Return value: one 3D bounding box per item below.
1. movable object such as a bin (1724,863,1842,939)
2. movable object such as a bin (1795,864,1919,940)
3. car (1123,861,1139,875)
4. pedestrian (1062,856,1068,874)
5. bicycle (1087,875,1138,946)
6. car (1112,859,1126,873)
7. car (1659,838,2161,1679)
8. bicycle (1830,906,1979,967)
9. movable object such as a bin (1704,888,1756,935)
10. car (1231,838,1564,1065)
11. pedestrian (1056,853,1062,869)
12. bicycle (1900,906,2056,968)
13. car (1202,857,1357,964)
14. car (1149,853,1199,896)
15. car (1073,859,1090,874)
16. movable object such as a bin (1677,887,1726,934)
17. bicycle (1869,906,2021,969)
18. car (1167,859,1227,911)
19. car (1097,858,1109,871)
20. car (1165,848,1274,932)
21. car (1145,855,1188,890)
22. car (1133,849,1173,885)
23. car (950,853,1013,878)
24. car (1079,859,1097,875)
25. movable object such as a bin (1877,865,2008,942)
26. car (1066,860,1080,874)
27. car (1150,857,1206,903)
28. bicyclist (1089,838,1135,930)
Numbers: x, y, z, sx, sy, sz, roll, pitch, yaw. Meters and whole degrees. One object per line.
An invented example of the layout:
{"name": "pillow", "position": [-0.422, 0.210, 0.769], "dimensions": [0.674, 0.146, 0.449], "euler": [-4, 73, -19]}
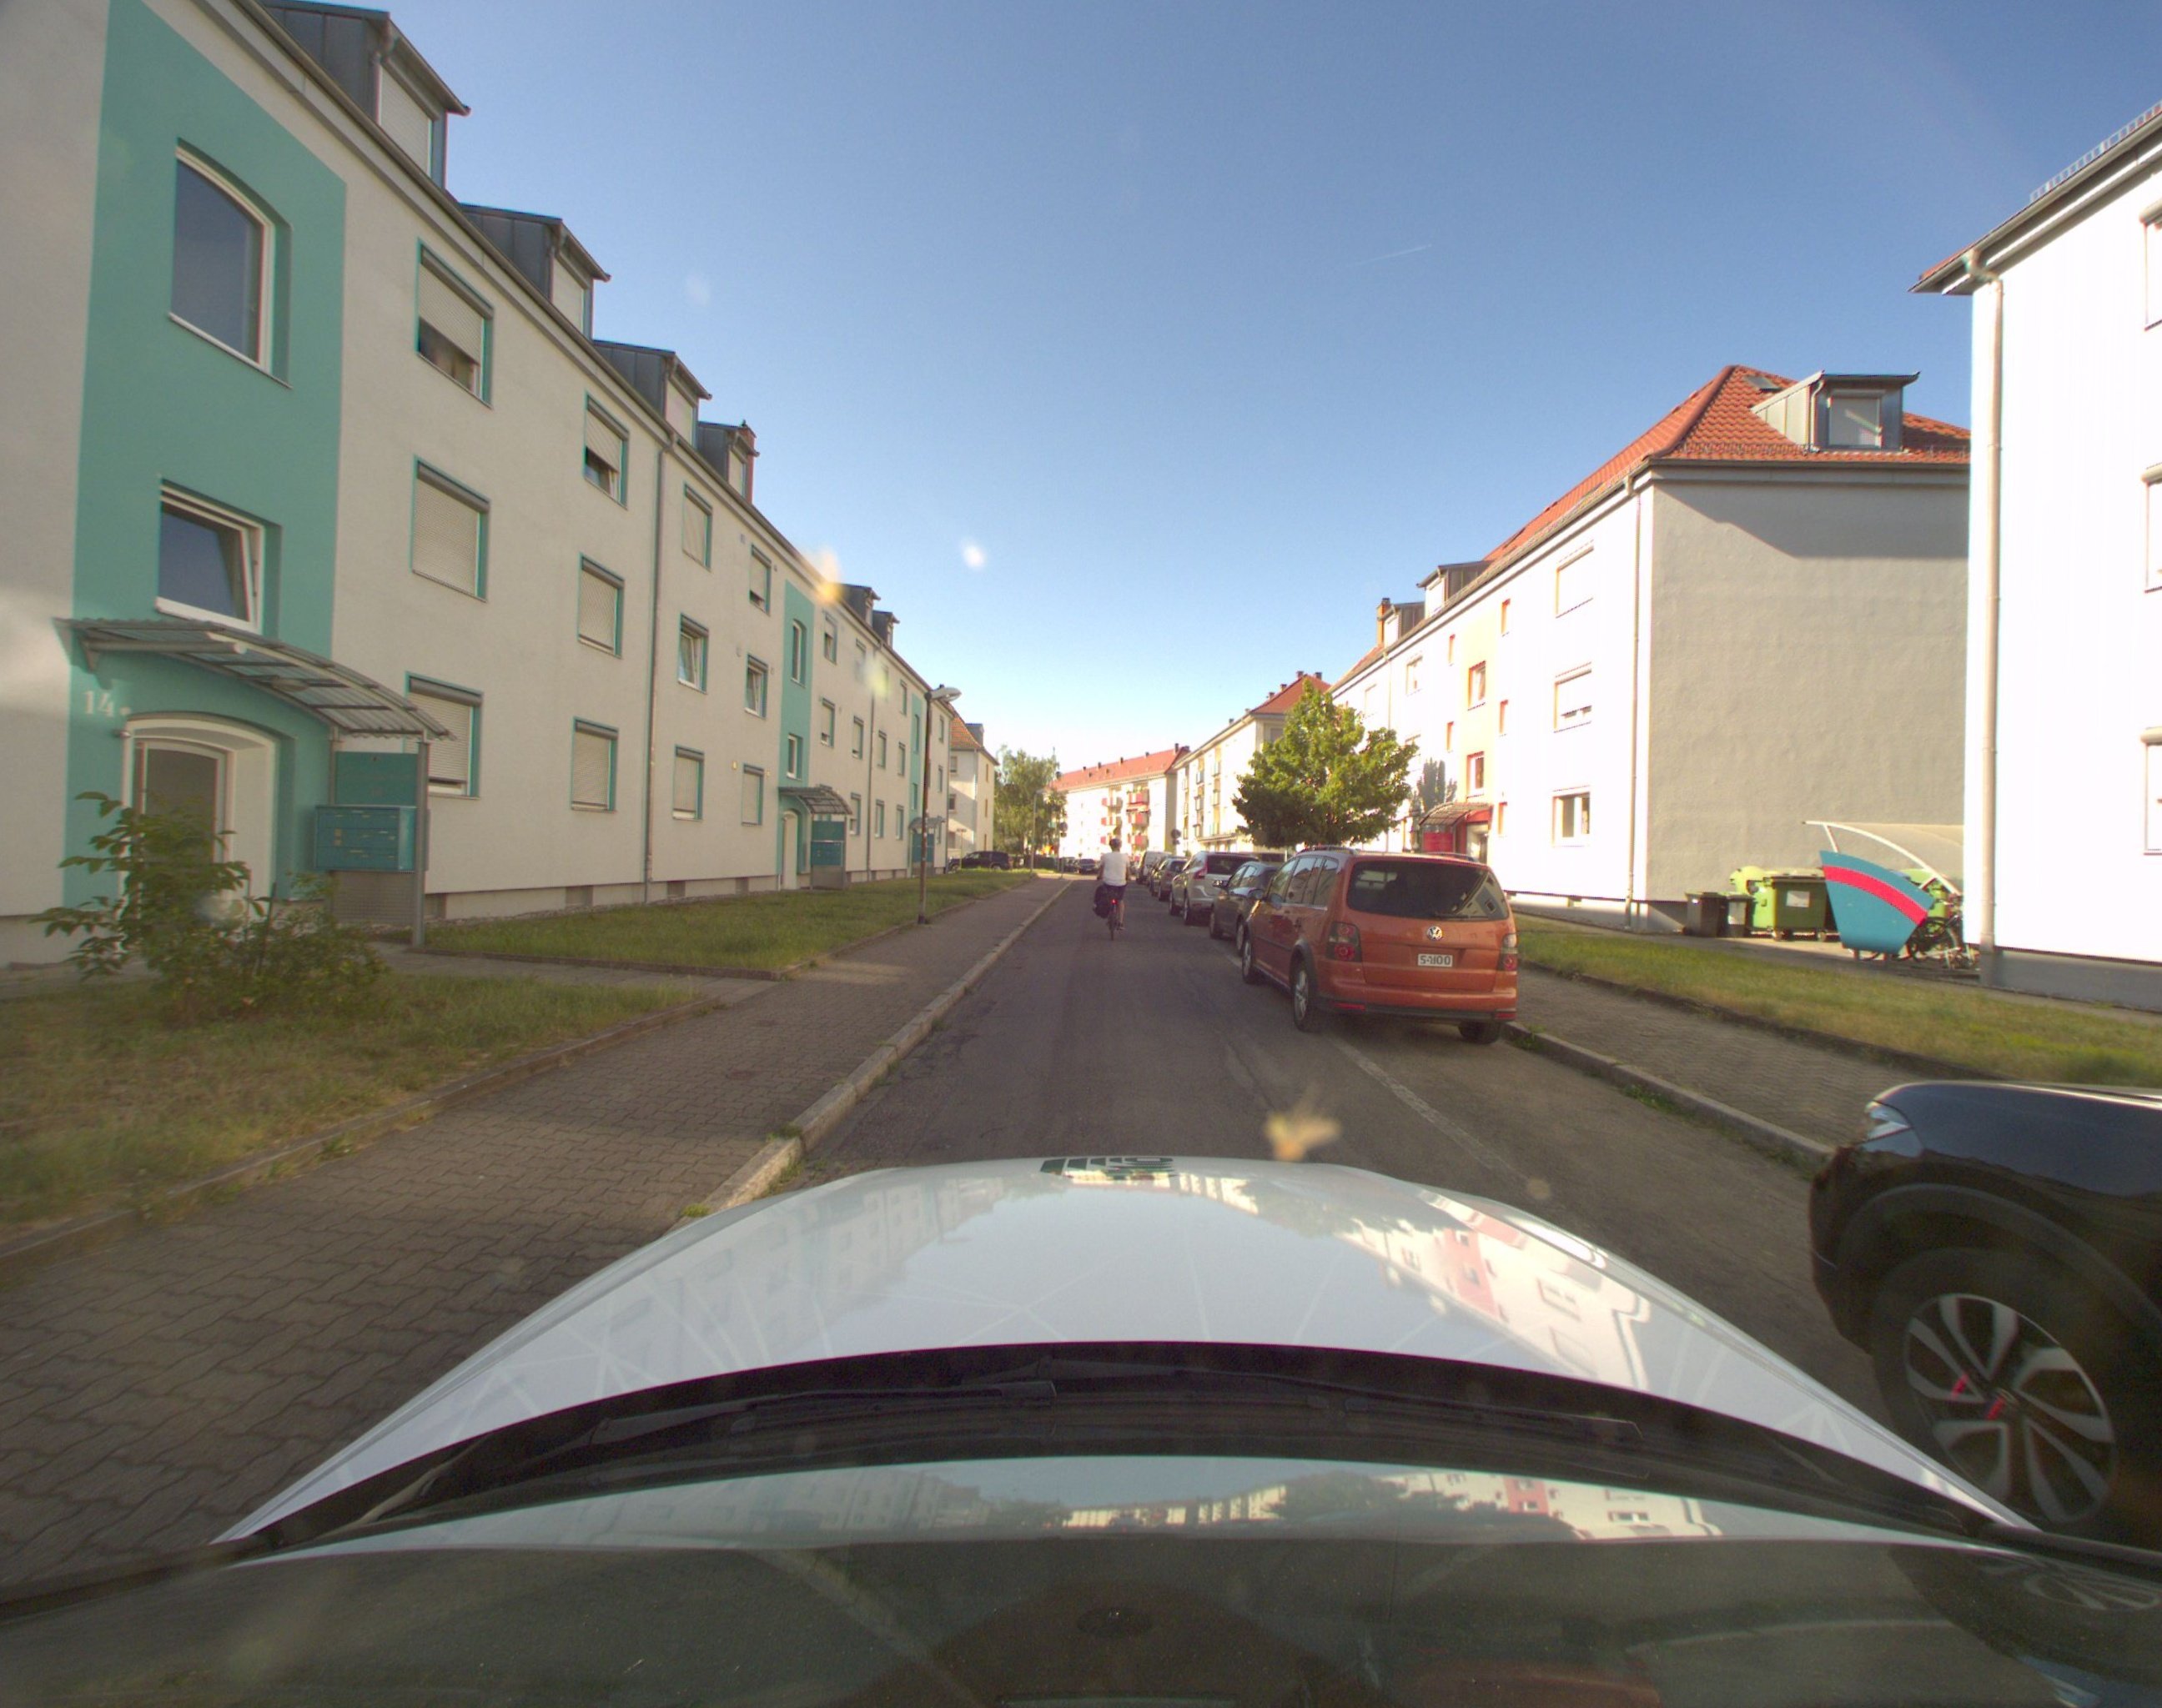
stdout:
{"name": "movable object such as a bin", "position": [13.948, 0.912, 16.231], "dimensions": [1.355, 1.416, 1.188], "euler": [1, 0, 1]}
{"name": "movable object such as a bin", "position": [15.431, 0.930, 16.243], "dimensions": [1.355, 1.416, 1.188], "euler": [1, 0, 1]}
{"name": "car", "position": [5.204, 1.487, 85.086], "dimensions": [1.465, 1.335, 3.140], "euler": [2, 0, -1]}
{"name": "pedestrian", "position": [-1.413, 0.999, 71.728], "dimensions": [0.433, 1.574, 0.543], "euler": [2, 0, 1]}
{"name": "bicycle", "position": [0.542, 0.979, 14.792], "dimensions": [0.806, 1.128, 2.101], "euler": [0, 0, -1]}
{"name": "car", "position": [4.279, 1.302, 91.887], "dimensions": [1.377, 1.497, 3.076], "euler": [2, 0, -1]}
{"name": "car", "position": [2.917, 0.805, 0.726], "dimensions": [1.706, 1.595, 4.398], "euler": [2, 0, 1]}
{"name": "bicycle", "position": [12.503, 1.225, 12.454], "dimensions": [0.452, 0.740, 1.870], "euler": [0, 0, 2]}
{"name": "movable object such as a bin", "position": [12.999, 1.153, 16.323], "dimensions": [0.521, 0.886, 0.633], "euler": [1, 0, 1]}
{"name": "car", "position": [2.839, 0.755, 8.392], "dimensions": [1.855, 1.668, 4.128], "euler": [3, 0, 1]}
{"name": "pedestrian", "position": [-1.937, 0.592, 71.750], "dimensions": [0.433, 1.427, 0.543], "euler": [1, 0, 1]}
{"name": "bicycle", "position": [13.510, 1.229, 12.347], "dimensions": [0.452, 0.759, 1.789], "euler": [0, 0, 2]}
{"name": "car", "position": [3.238, 0.855, 14.041], "dimensions": [1.613, 1.460, 3.839], "euler": [3, 0, -1]}
{"name": "car", "position": [3.671, 0.769, 32.737], "dimensions": [1.554, 1.576, 3.365], "euler": [2, 0, -1]}
{"name": "car", "position": [0.075, 1.175, 79.967], "dimensions": [1.466, 1.335, 3.138], "euler": [-3, 0, -3]}
{"name": "movable object such as a bin", "position": [12.445, 1.133, 16.346], "dimensions": [0.521, 0.886, 0.633], "euler": [1, 0, 1]}
{"name": "bicycle", "position": [12.971, 1.224, 12.305], "dimensions": [0.452, 0.768, 1.781], "euler": [0, 0, 2]}
{"name": "car", "position": [3.413, 0.879, 24.375], "dimensions": [1.386, 1.403, 3.245], "euler": [2, 0, 1]}
{"name": "car", "position": [2.801, 1.341, 104.689], "dimensions": [1.465, 1.516, 3.076], "euler": [2, 0, -1]}
{"name": "car", "position": [3.085, 0.730, 18.979], "dimensions": [1.695, 1.671, 4.379], "euler": [3, 0, 0]}
{"name": "car", "position": [3.919, 0.831, 37.771], "dimensions": [1.554, 1.453, 3.365], "euler": [2, 0, -1]}
{"name": "car", "position": [3.721, 0.646, 42.488], "dimensions": [1.669, 1.738, 3.941], "euler": [2, 0, -1]}
{"name": "car", "position": [-6.903, 0.790, 56.932], "dimensions": [4.221, 1.638, 1.581], "euler": [1, 0, -3]}
{"name": "car", "position": [0.644, 1.184, 75.586], "dimensions": [1.466, 1.335, 3.137], "euler": [-2, 0, -3]}
{"name": "movable object such as a bin", "position": [16.953, 0.948, 16.069], "dimensions": [1.355, 1.416, 1.188], "euler": [1, 0, 1]}
{"name": "car", "position": [-0.873, 1.350, 86.628], "dimensions": [1.465, 1.335, 3.139], "euler": [-2, 0, -2]}
{"name": "car", "position": [3.297, 0.835, 28.234], "dimensions": [1.553, 1.411, 3.934], "euler": [2, 0, 1]}
{"name": "bicyclist", "position": [0.558, 0.535, 15.000], "dimensions": [0.806, 1.643, 0.898], "euler": [0, 0, -1]}
